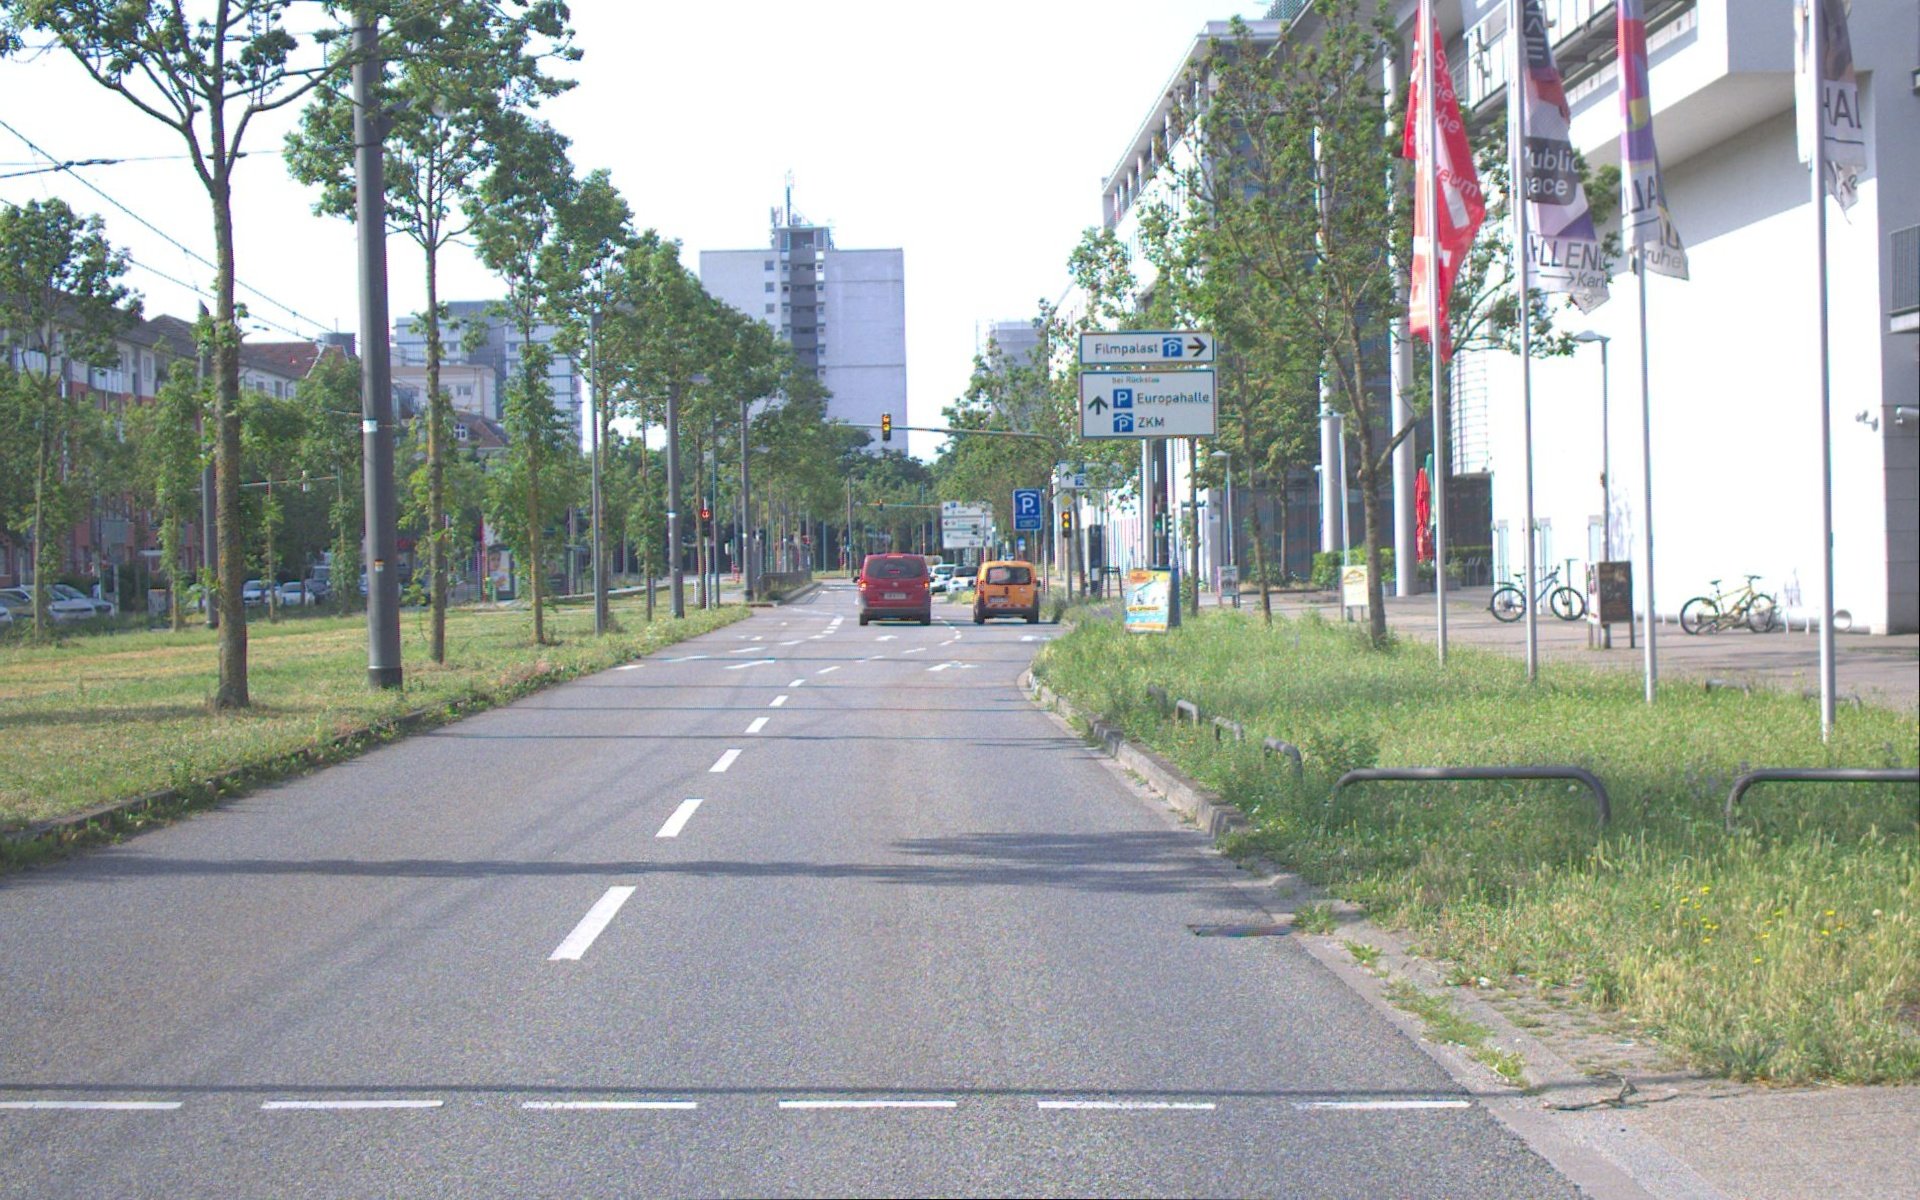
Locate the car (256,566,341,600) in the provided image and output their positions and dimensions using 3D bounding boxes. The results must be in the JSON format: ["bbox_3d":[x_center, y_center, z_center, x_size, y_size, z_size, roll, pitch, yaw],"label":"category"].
[{"bbox_3d":[-33.374,-0.859,173.409,3.992,1.590,1.653,1,0,25],"label":"car"}]

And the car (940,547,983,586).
[{"bbox_3d":[0.048,-1.435,148.255,1.748,1.645,3.216,1,0,-2],"label":"car"}]

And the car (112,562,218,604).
[{"bbox_3d":[-32.377,-0.689,140.014,3.992,1.590,1.653,1,0,25],"label":"car"}]

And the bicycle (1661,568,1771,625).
[{"bbox_3d":[12.085,-0.060,54.961,1.621,0.885,0.551,1,0,-2],"label":"bicycle"}]

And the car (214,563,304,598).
[{"bbox_3d":[-33.490,-0.913,164.226,3.992,1.590,1.653,1,0,25],"label":"car"}]

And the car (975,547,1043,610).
[{"bbox_3d":[1.319,-0.586,93.864,1.748,1.645,3.216,1,0,0],"label":"car"}]

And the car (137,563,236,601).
[{"bbox_3d":[-33.384,-0.779,148.375,3.992,1.590,1.653,1,0,25],"label":"car"}]

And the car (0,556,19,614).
[{"bbox_3d":[-31.553,-0.495,107.296,3.992,1.801,1.802,1,0,25],"label":"car"}]

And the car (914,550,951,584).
[{"bbox_3d":[-1.400,-1.678,174.023,1.748,1.645,3.216,1,0,-2],"label":"car"}]

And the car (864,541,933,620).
[{"bbox_3d":[-1.597,-0.526,90.712,1.748,2.007,3.216,1,0,0],"label":"car"}]

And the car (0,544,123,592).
[{"bbox_3d":[-31.501,-1.122,120.531,3.992,1.590,1.653,1,0,25],"label":"car"}]

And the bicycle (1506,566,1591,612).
[{"bbox_3d":[11.943,-0.227,69.753,1.621,0.885,0.551,1,0,1],"label":"bicycle"}]
